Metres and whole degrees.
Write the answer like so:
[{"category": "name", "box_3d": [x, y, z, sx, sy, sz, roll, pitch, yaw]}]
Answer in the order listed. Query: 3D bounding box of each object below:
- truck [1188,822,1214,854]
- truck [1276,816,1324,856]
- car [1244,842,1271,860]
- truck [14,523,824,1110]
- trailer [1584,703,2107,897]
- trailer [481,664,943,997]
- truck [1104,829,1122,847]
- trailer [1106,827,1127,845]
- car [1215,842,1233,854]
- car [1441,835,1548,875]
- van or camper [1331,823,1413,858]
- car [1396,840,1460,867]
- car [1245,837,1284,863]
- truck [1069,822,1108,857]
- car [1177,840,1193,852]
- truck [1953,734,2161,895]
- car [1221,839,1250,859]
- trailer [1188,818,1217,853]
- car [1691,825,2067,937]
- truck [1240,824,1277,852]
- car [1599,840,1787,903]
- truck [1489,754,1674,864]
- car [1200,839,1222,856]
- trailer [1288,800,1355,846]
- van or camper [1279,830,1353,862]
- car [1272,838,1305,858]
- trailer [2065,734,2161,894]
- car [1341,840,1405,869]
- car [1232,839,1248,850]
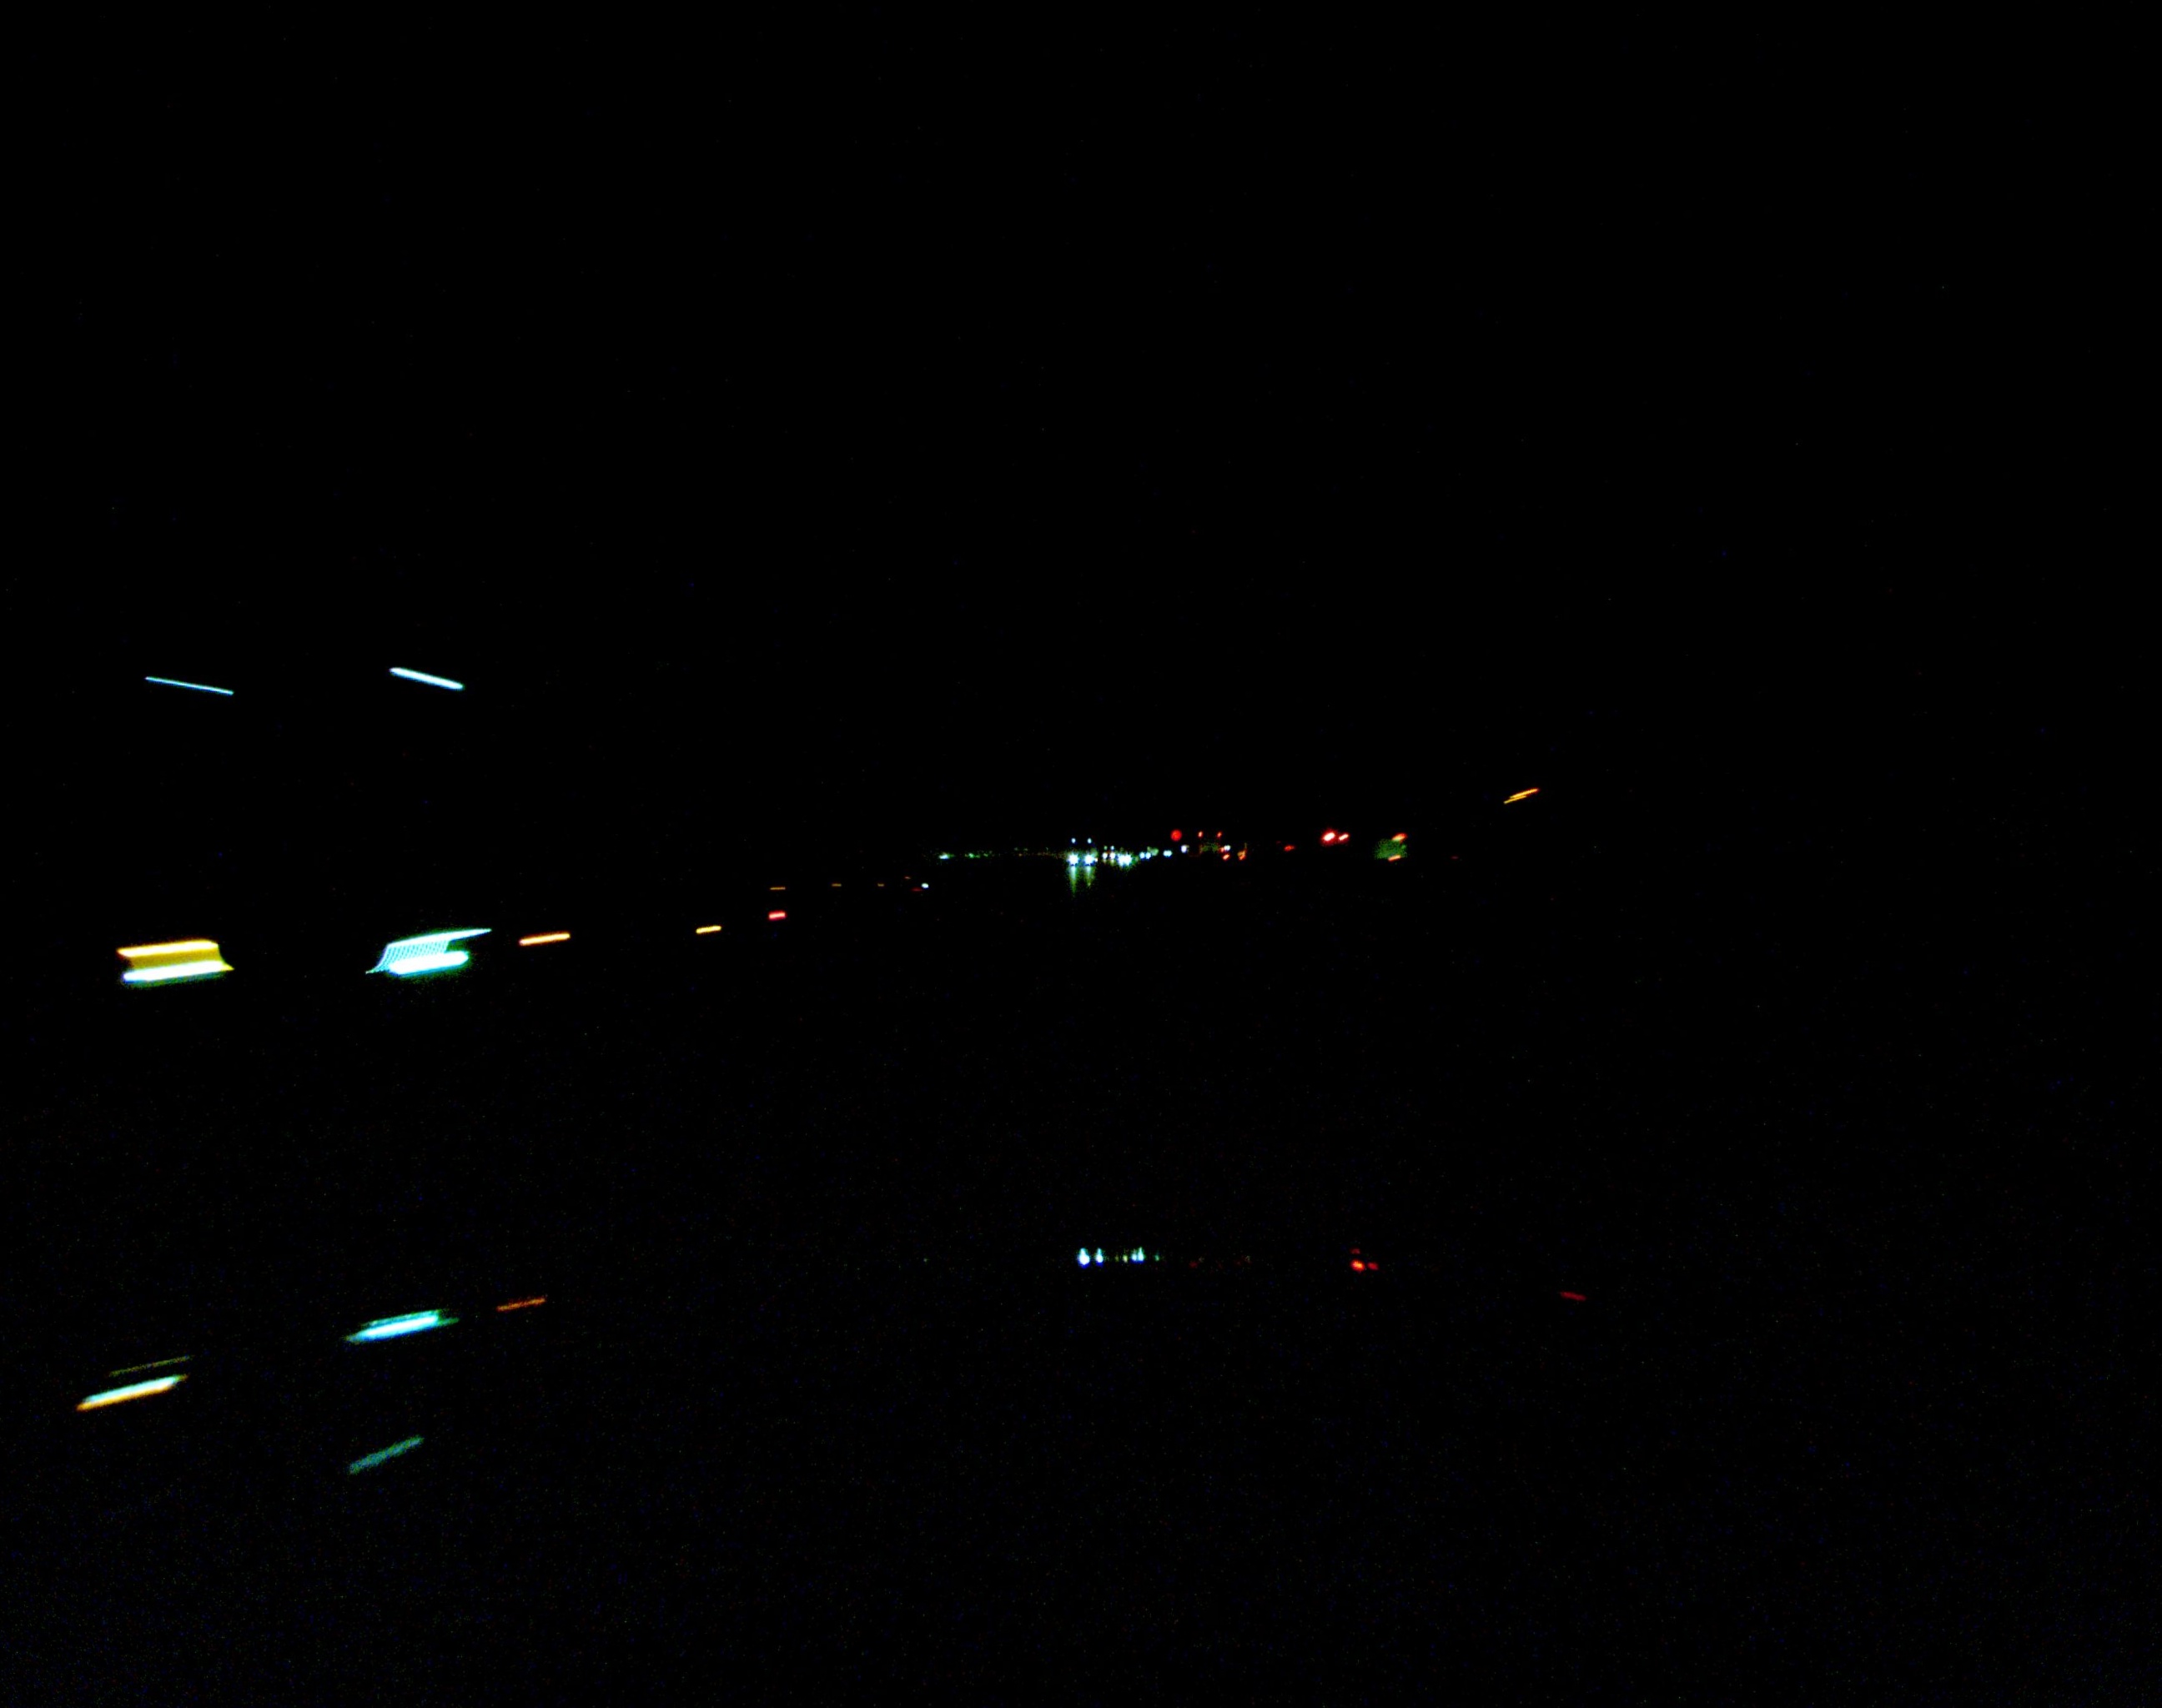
[{"category": "truck", "box_3d": [16.419, -2.251, 104.638, 3.115, 4.074, 7.077, -3, 2, 7]}, {"category": "truck", "box_3d": [19.014, -1.607, 66.233, 2.650, 3.202, 5.794, -3, 2, 3]}, {"category": "car", "box_3d": [14.535, -0.263, 62.706, 1.574, 1.346, 4.000, -1, 1, 4]}, {"category": "truck", "box_3d": [-5.840, -0.298, 9.019, 2.869, 4.054, 7.509, 0, 1, 1]}, {"category": "trailer", "box_3d": [18.290, -1.154, 20.078, 2.400, 3.607, 11.176, -2, 1, -1]}, {"category": "trailer", "box_3d": [-5.691, -0.379, 15.856, 2.861, 4.044, 13.203, 0, 1, 1]}, {"category": "truck", "box_3d": [8.684, -4.356, 203.690, 2.871, 3.820, 8.054, -6, 5, 15]}, {"category": "trailer", "box_3d": [9.951, -4.999, 209.326, 2.878, 3.911, 12.888, -4, 5, 15]}, {"category": "car", "box_3d": [15.915, -0.688, 84.739, 1.574, 1.308, 4.161, -1, 1, 4]}, {"category": "car", "box_3d": [15.207, -0.008, 28.238, 1.800, 1.346, 4.239, -1, 1, 3]}, {"category": "van or camper", "box_3d": [18.658, -0.875, 49.314, 2.193, 2.002, 7.639, -2, 1, -1]}, {"category": "car", "box_3d": [18.327, -0.059, 40.312, 1.574, 1.346, 4.239, -1, 1, 3]}, {"category": "car", "box_3d": [11.123, -0.255, 46.227, 1.662, 1.463, 4.000, -1, 1, 4]}, {"category": "truck", "box_3d": [1.227, -1.891, 101.526, 3.490, 4.111, 18.713, -2, 1, 5]}, {"category": "car", "box_3d": [12.157, -0.981, 89.019, 1.574, 1.346, 4.000, -1, 1, 4]}, {"category": "truck", "box_3d": [22.647, -0.856, 16.223, 2.400, 3.193, 4.905, -2, 2, -1]}, {"category": "car", "box_3d": [11.255, -0.405, 55.697, 1.574, 1.346, 4.000, -1, 1, 4]}, {"category": "trailer", "box_3d": [15.453, -2.478, 97.555, 3.096, 4.066, 12.451, -3, 2, 7]}, {"category": "car", "box_3d": [11.380, 0.296, 11.322, 1.574, 1.346, 4.000, -1, 1, 4]}, {"category": "truck", "box_3d": [19.600, -1.741, 84.239, 2.563, 2.942, 8.172, -1, 1, 3]}, {"category": "car", "box_3d": [14.683, 0.341, 18.541, 1.574, 1.346, 4.000, -1, 1, 4]}, {"category": "truck", "box_3d": [18.150, -1.503, 28.160, 2.409, 3.494, 6.723, -2, 1, 1]}, {"category": "car", "box_3d": [11.422, -0.600, 67.044, 1.574, 1.346, 4.000, -1, 1, 4]}, {"category": "trailer", "box_3d": [18.614, -2.390, 59.470, 2.612, 3.158, 9.002, -3, 2, 3]}, {"category": "van or camper", "box_3d": [10.712, -0.389, 35.079, 1.824, 1.346, 5.351, -2, 1, 1]}, {"category": "car", "box_3d": [14.851, -0.476, 54.508, 1.574, 1.346, 4.000, -1, 1, 4]}, {"category": "trailer", "box_3d": [22.768, -0.741, 11.020, 2.400, 3.193, 11.176, -2, 1, -1]}, {"category": "car", "box_3d": [14.833, -0.015, 38.831, 1.800, 1.346, 4.239, -1, 1, 3]}, {"category": "car", "box_3d": [20.463, -1.264, 97.887, 1.574, 1.308, 4.161, -1, 1, 4]}]
